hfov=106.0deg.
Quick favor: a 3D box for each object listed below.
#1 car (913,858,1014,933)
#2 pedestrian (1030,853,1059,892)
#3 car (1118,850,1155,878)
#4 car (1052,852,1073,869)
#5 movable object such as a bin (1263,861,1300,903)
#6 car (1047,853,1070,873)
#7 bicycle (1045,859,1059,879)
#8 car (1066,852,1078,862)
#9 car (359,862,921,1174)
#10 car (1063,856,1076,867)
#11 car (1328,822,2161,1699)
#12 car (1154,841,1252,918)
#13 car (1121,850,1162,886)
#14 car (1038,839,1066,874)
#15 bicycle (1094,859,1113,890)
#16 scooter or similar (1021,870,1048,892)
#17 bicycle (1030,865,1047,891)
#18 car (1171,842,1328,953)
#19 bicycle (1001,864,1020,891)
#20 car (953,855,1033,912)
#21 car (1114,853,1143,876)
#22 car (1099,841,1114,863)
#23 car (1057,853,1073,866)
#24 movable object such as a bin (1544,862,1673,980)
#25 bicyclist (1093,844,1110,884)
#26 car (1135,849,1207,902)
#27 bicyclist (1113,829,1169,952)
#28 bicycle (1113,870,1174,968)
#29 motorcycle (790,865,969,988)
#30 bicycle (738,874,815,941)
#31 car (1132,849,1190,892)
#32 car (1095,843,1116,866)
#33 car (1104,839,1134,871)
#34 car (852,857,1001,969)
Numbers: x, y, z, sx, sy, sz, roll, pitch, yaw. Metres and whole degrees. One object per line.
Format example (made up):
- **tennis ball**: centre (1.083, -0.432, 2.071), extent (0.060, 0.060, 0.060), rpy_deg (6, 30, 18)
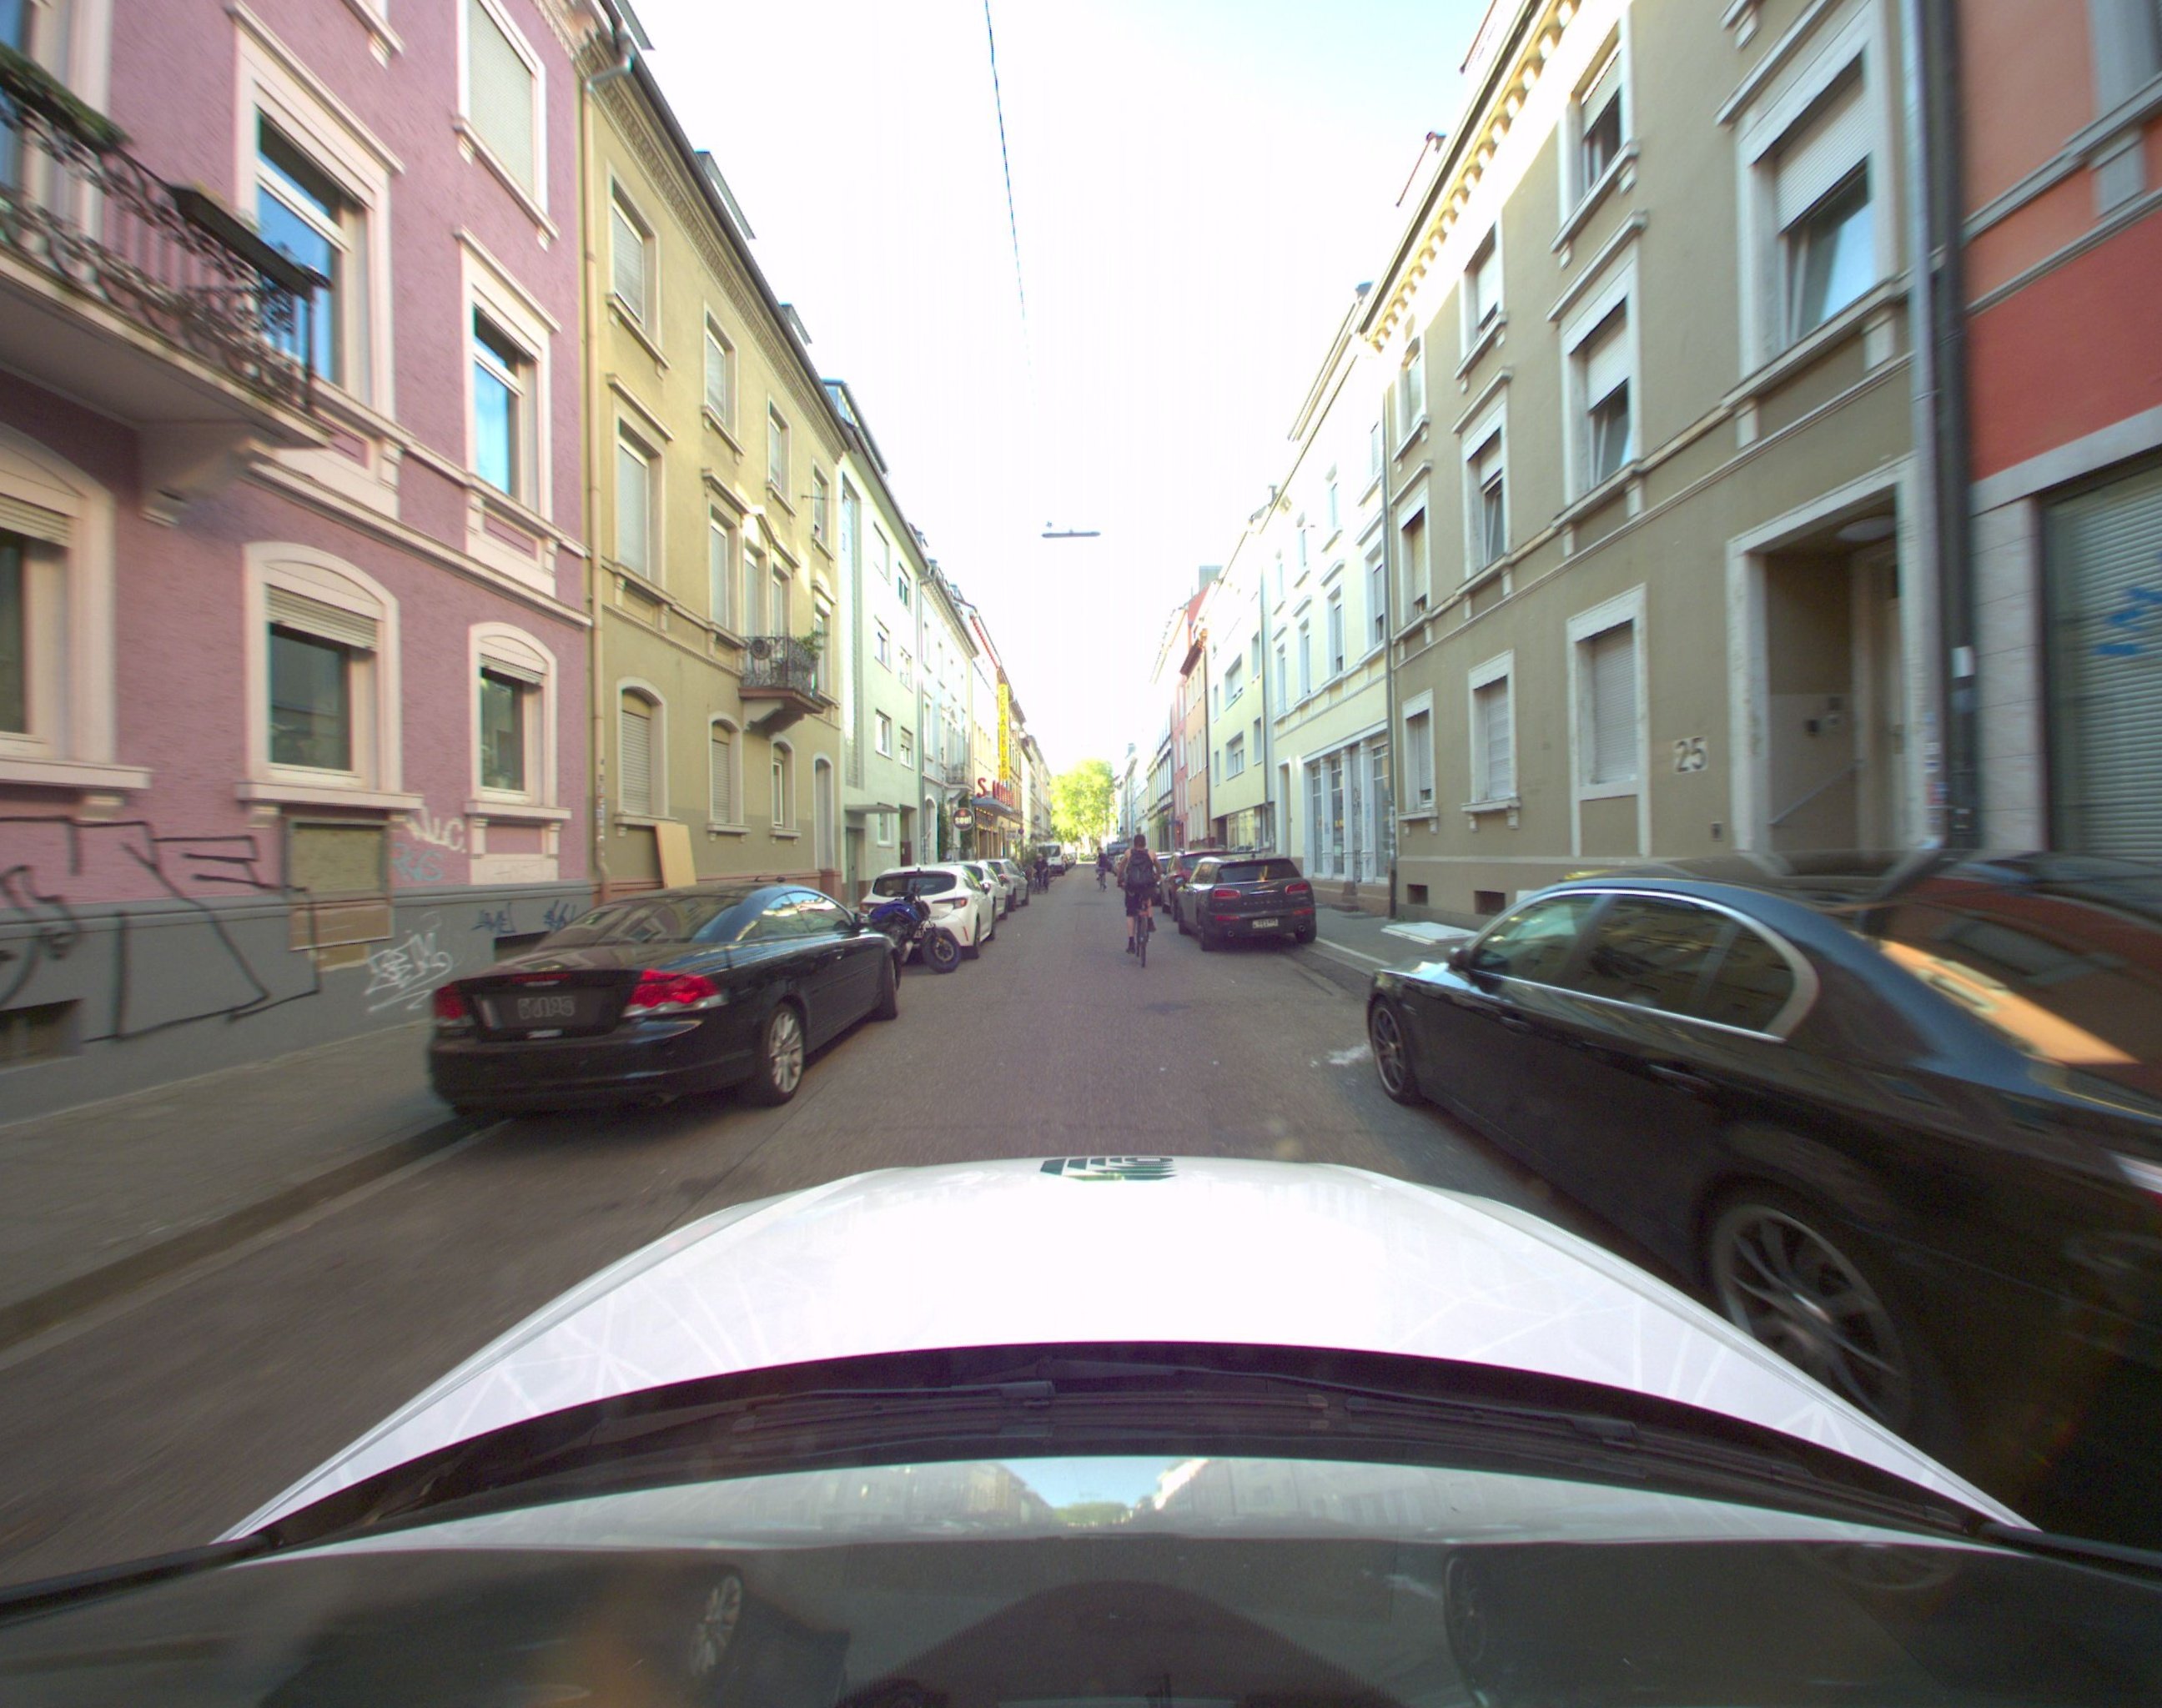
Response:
- **car**: centre (-2.575, 0.865, 18.669), extent (1.666, 1.441, 3.767), rpy_deg (-4, 0, 0)
- **pedestrian**: centre (-1.472, 0.740, 33.010), extent (0.904, 1.578, 0.765), rpy_deg (0, -1, -36)
- **car**: centre (3.041, 0.529, 45.158), extent (1.705, 1.393, 4.000), rpy_deg (-4, 0, 0)
- **car**: centre (-1.669, 0.624, 75.207), extent (1.666, 1.441, 4.165), rpy_deg (-4, 0, 0)
- **movable object such as a bin**: centre (5.528, 0.756, 22.481), extent (0.803, 1.075, 0.678), rpy_deg (-4, -1, 5)
- **car**: centre (-1.815, 0.742, 67.703), extent (1.666, 1.441, 4.165), rpy_deg (-4, 0, 0)
- **bicycle**: centre (-1.725, 0.852, 47.638), extent (0.756, 1.163, 2.272), rpy_deg (0, -1, -3)
- **car**: centre (-1.449, 0.498, 129.103), extent (1.666, 1.441, 4.165), rpy_deg (-4, 0, 0)
- **car**: centre (-2.637, 0.847, 6.240), extent (1.704, 1.383, 4.359), rpy_deg (-3, 0, 3)
- **car**: centre (-1.569, 1.097, 116.520), extent (1.666, 1.441, 4.165), rpy_deg (-4, 0, 0)
- **car**: centre (2.709, 0.675, 3.455), extent (1.811, 1.438, 4.790), rpy_deg (-4, 0, 0)
- **car**: centre (2.832, 0.565, 19.724), extent (1.705, 1.556, 4.000), rpy_deg (-4, -1, 0)
- **car**: centre (2.893, 0.655, 39.703), extent (1.615, 1.550, 4.000), rpy_deg (-4, -1, 0)
- **car**: centre (-2.132, 0.179, 60.745), extent (1.904, 2.496, 4.162), rpy_deg (-2, 0, -2)
- **bicycle**: centre (0.916, 0.833, 33.692), extent (0.700, 1.208, 2.342), rpy_deg (0, 1, 0)
- **scooter or similar**: centre (-1.866, 1.080, 32.707), extent (0.774, 0.873, 0.765), rpy_deg (0, -1, -36)
- **bicycle**: centre (-1.857, 1.029, 35.526), extent (0.698, 1.105, 2.272), rpy_deg (0, -1, -3)
- **car**: centre (2.694, 0.653, 13.976), extent (1.811, 1.521, 4.000), rpy_deg (-4, 0, 0)
- **bicycle**: centre (-3.064, 1.024, 35.631), extent (0.756, 1.134, 2.272), rpy_deg (0, -1, -3)
- **car**: centre (-2.501, 0.816, 23.932), extent (1.665, 1.441, 3.756), rpy_deg (-4, 0, 3)
- **car**: centre (3.242, 0.711, 56.590), extent (1.705, 1.447, 4.000), rpy_deg (-4, 0, 0)
- **car**: centre (4.575, -0.329, 145.024), extent (2.300, 3.767, 6.769), rpy_deg (-4, -1, 0)
- **car**: centre (-1.805, 0.640, 93.767), extent (1.666, 1.441, 4.165), rpy_deg (-4, 0, 0)
- **movable object such as a bin**: centre (5.271, 0.648, 8.189), extent (0.803, 1.075, 0.678), rpy_deg (-4, -1, 5)
- **bicyclist**: centre (0.836, 0.401, 33.541), extent (0.700, 1.605, 0.812), rpy_deg (0, 1, 0)
- **car**: centre (2.688, 0.621, 25.036), extent (1.705, 1.383, 4.000), rpy_deg (-4, 0, 0)
- **bicyclist**: centre (0.823, 0.493, 11.411), extent (0.699, 1.633, 1.090), rpy_deg (0, -1, 0)
- **bicycle**: centre (0.839, 0.851, 11.504), extent (0.699, 1.208, 2.342), rpy_deg (0, -1, 1)
- **motorcycle**: centre (-2.632, 0.910, 10.725), extent (2.152, 1.359, 0.537), rpy_deg (-4, 1, -18)
- **bicycle**: centre (-5.519, 0.939, 14.881), extent (0.590, 1.089, 2.079), rpy_deg (0, -1, 1)
- **car**: centre (2.872, 0.572, 30.116), extent (1.705, 1.383, 4.000), rpy_deg (-4, 0, 0)
- **car**: centre (2.902, 0.084, 97.635), extent (2.300, 2.538, 6.769), rpy_deg (-4, 0, 0)
- **car**: centre (3.292, 0.093, 72.188), extent (2.300, 2.538, 6.769), rpy_deg (-4, 0, 0)
- **car**: centre (-2.348, 0.836, 13.411), extent (1.667, 1.441, 4.162), rpy_deg (-4, 0, -2)
